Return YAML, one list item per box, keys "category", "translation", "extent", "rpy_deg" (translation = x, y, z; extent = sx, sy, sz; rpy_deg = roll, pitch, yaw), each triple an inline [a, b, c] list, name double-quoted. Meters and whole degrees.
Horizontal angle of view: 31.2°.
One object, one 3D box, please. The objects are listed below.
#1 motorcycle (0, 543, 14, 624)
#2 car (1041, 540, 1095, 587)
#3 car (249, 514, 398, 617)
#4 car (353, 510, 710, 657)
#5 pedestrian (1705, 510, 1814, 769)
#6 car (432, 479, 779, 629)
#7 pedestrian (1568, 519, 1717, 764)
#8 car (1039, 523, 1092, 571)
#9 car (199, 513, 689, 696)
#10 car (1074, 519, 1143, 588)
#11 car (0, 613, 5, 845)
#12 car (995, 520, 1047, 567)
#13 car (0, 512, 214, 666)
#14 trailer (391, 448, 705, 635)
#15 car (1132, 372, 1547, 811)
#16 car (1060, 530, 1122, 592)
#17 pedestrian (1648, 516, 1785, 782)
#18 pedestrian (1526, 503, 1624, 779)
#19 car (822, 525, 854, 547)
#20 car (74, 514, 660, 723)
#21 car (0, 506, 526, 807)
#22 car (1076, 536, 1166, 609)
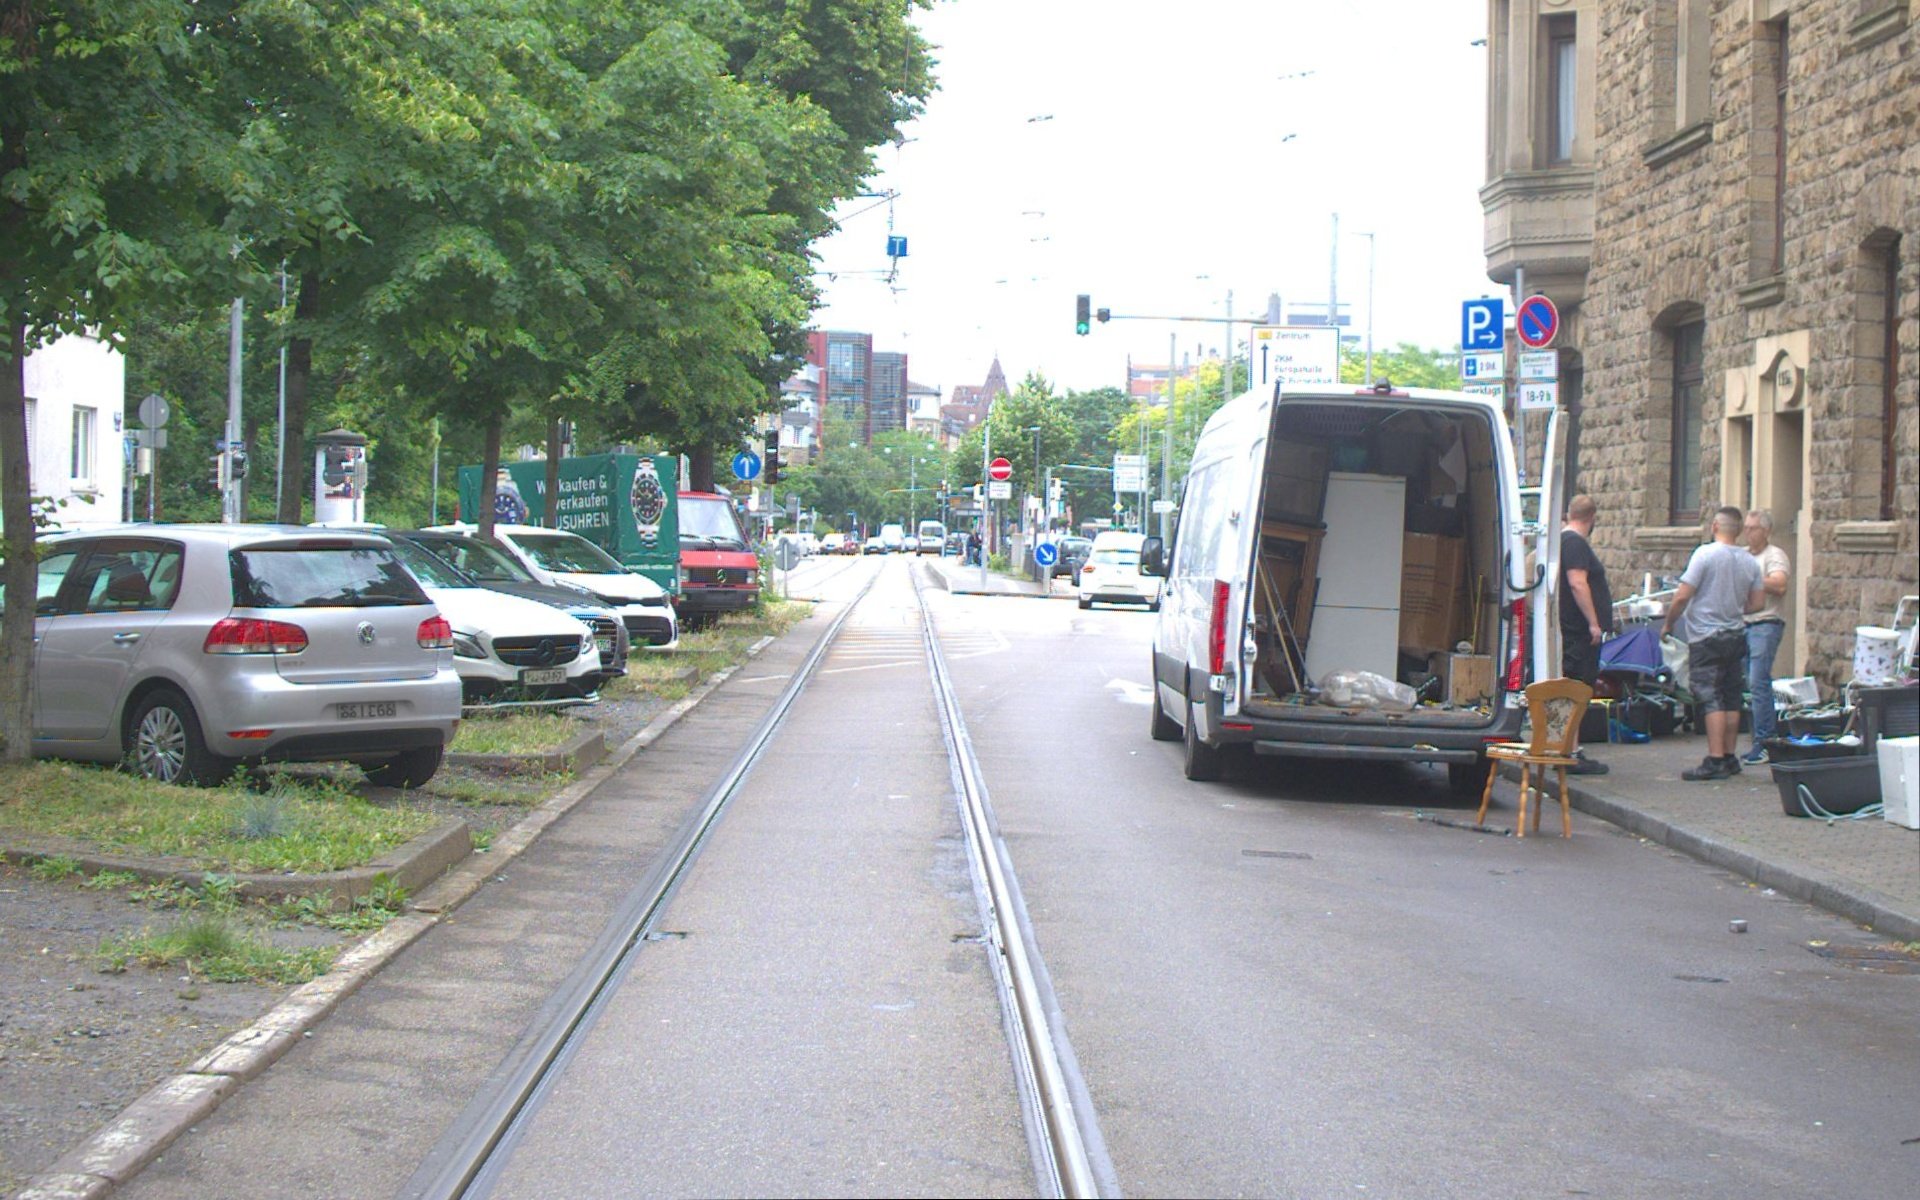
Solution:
- category: "motorcycle"
  translation: [-12.723, -0.210, 42.897]
  extent: [0.709, 1.035, 2.228]
  rpy_deg: [1, 1, 16]
- category: "car"
  translation: [4.079, -1.399, 130.441]
  extent: [1.782, 1.673, 4.383]
  rpy_deg: [2, 1, -1]
- category: "car"
  translation: [-9.798, -0.541, 53.174]
  extent: [1.644, 1.499, 3.884]
  rpy_deg: [1, 1, -2]
- category: "car"
  translation: [-4.679, -0.202, 37.275]
  extent: [3.860, 1.458, 1.685]
  rpy_deg: [2, 2, 41]
- category: "pedestrian"
  translation: [5.377, 0.255, 23.138]
  extent: [0.507, 1.711, 0.581]
  rpy_deg: [-1, 1, -11]
- category: "car"
  translation: [-5.005, -0.667, 48.192]
  extent: [4.763, 1.967, 1.955]
  rpy_deg: [2, 1, 38]
- category: "pedestrian"
  translation: [4.813, 0.280, 24.262]
  extent: [0.862, 1.694, 0.538]
  rpy_deg: [-1, 1, -15]
- category: "car"
  translation: [4.601, -2.326, 150.601]
  extent: [2.180, 2.026, 4.382]
  rpy_deg: [2, 1, 1]
- category: "car"
  translation: [-4.594, -0.001, 30.232]
  extent: [4.337, 1.430, 1.894]
  rpy_deg: [2, 2, 41]
- category: "car"
  translation: [4.397, -1.407, 102.136]
  extent: [1.782, 1.956, 4.382]
  rpy_deg: [2, 1, 0]
- category: "car"
  translation: [-4.334, 0.557, 9.046]
  extent: [3.960, 1.198, 1.664]
  rpy_deg: [3, 2, 43]
- category: "car"
  translation: [2.306, -2.155, 130.183]
  extent: [1.782, 1.673, 4.383]
  rpy_deg: [2, 1, -1]
- category: "car"
  translation: [-9.192, -0.143, 36.444]
  extent: [1.644, 1.499, 4.622]
  rpy_deg: [1, 1, -2]
- category: "trailer"
  translation: [-5.433, -0.787, 45.238]
  extent: [3.666, 2.336, 1.927]
  rpy_deg: [2, 1, 32]
- category: "car"
  translation: [2.462, -0.122, 24.219]
  extent: [2.013, 2.540, 7.017]
  rpy_deg: [3, 1, 0]
- category: "car"
  translation: [4.320, -1.316, 114.182]
  extent: [1.782, 1.956, 4.383]
  rpy_deg: [2, 1, -1]
- category: "pedestrian"
  translation: [4.909, 0.305, 22.314]
  extent: [0.702, 1.694, 0.493]
  rpy_deg: [-2, 1, -28]
- category: "pedestrian"
  translation: [4.117, 0.262, 23.051]
  extent: [0.499, 1.809, 0.803]
  rpy_deg: [-1, 1, 1]
- category: "car"
  translation: [-8.725, -4.592, 245.473]
  extent: [1.770, 1.488, 3.886]
  rpy_deg: [2, 1, 5]
- category: "car"
  translation: [-4.724, 0.096, 27.035]
  extent: [4.684, 1.430, 1.894]
  rpy_deg: [2, 2, 39]
- category: "car"
  translation: [-4.537, 0.237, 19.423]
  extent: [4.114, 1.479, 1.793]
  rpy_deg: [3, 1, 40]
- category: "car"
  translation: [3.479, -0.619, 73.849]
  extent: [1.783, 1.467, 4.010]
  rpy_deg: [2, 1, 4]
